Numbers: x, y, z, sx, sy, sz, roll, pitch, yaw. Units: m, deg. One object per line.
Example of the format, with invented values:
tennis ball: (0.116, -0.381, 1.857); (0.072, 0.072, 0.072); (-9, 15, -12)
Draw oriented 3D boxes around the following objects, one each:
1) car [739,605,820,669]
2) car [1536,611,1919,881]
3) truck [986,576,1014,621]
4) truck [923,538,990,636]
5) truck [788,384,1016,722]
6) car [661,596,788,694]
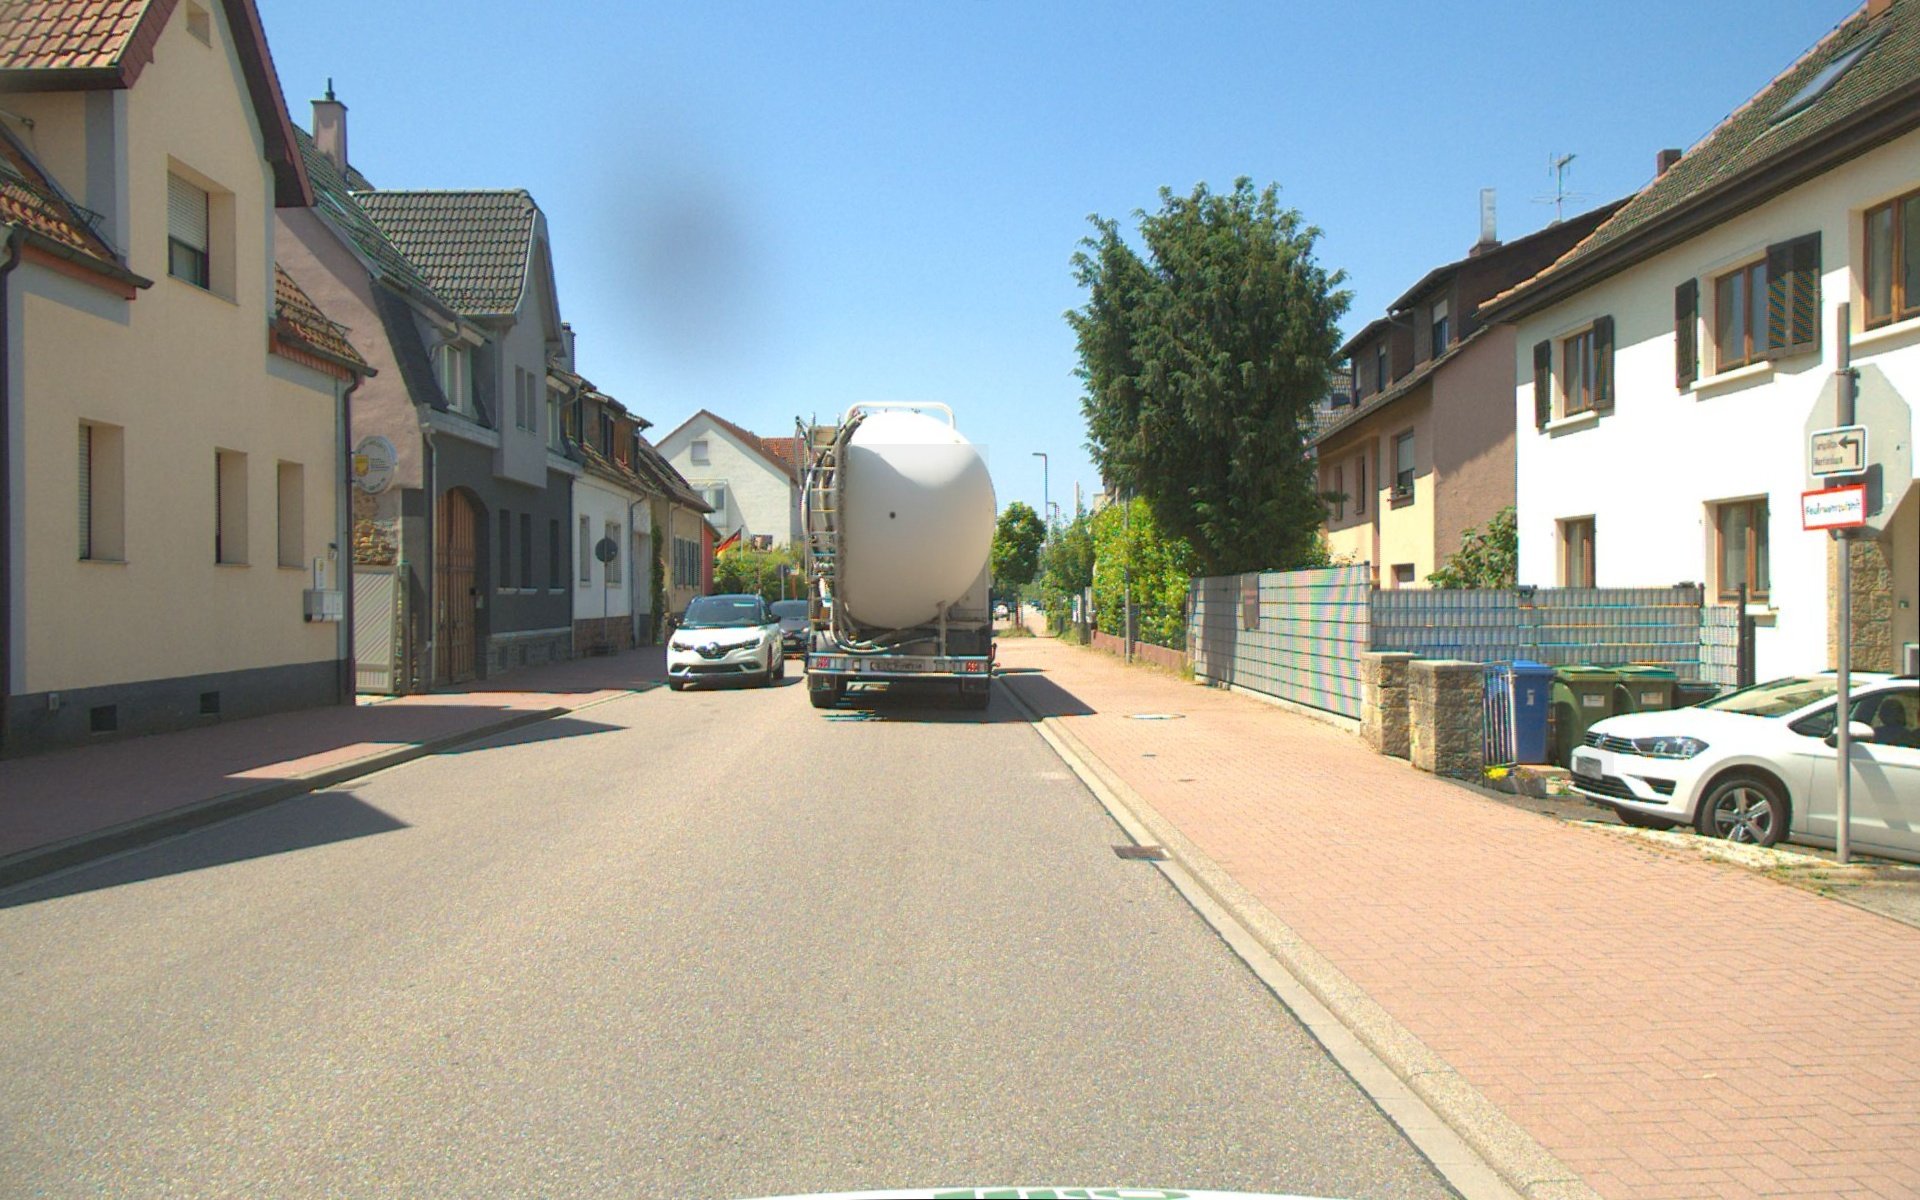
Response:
car: (-4.801, 0.956, 44.423); (1.814, 1.532, 4.103); (-3, 0, -2)
car: (7.009, 1.241, 13.032); (4.090, 1.613, 1.906); (10, 0, -1)
truck: (3.017, -0.102, 125.188); (1.952, 3.192, 9.449); (1, 0, 1)
truck: (-0.073, -0.496, 73.209); (2.676, 4.029, 8.143); (1, -1, 2)
truck: (-0.839, -0.527, 24.024); (2.677, 4.029, 8.137); (1, -1, -2)
car: (-4.280, 0.778, 30.637); (1.814, 1.599, 4.253); (-3, 0, -2)
